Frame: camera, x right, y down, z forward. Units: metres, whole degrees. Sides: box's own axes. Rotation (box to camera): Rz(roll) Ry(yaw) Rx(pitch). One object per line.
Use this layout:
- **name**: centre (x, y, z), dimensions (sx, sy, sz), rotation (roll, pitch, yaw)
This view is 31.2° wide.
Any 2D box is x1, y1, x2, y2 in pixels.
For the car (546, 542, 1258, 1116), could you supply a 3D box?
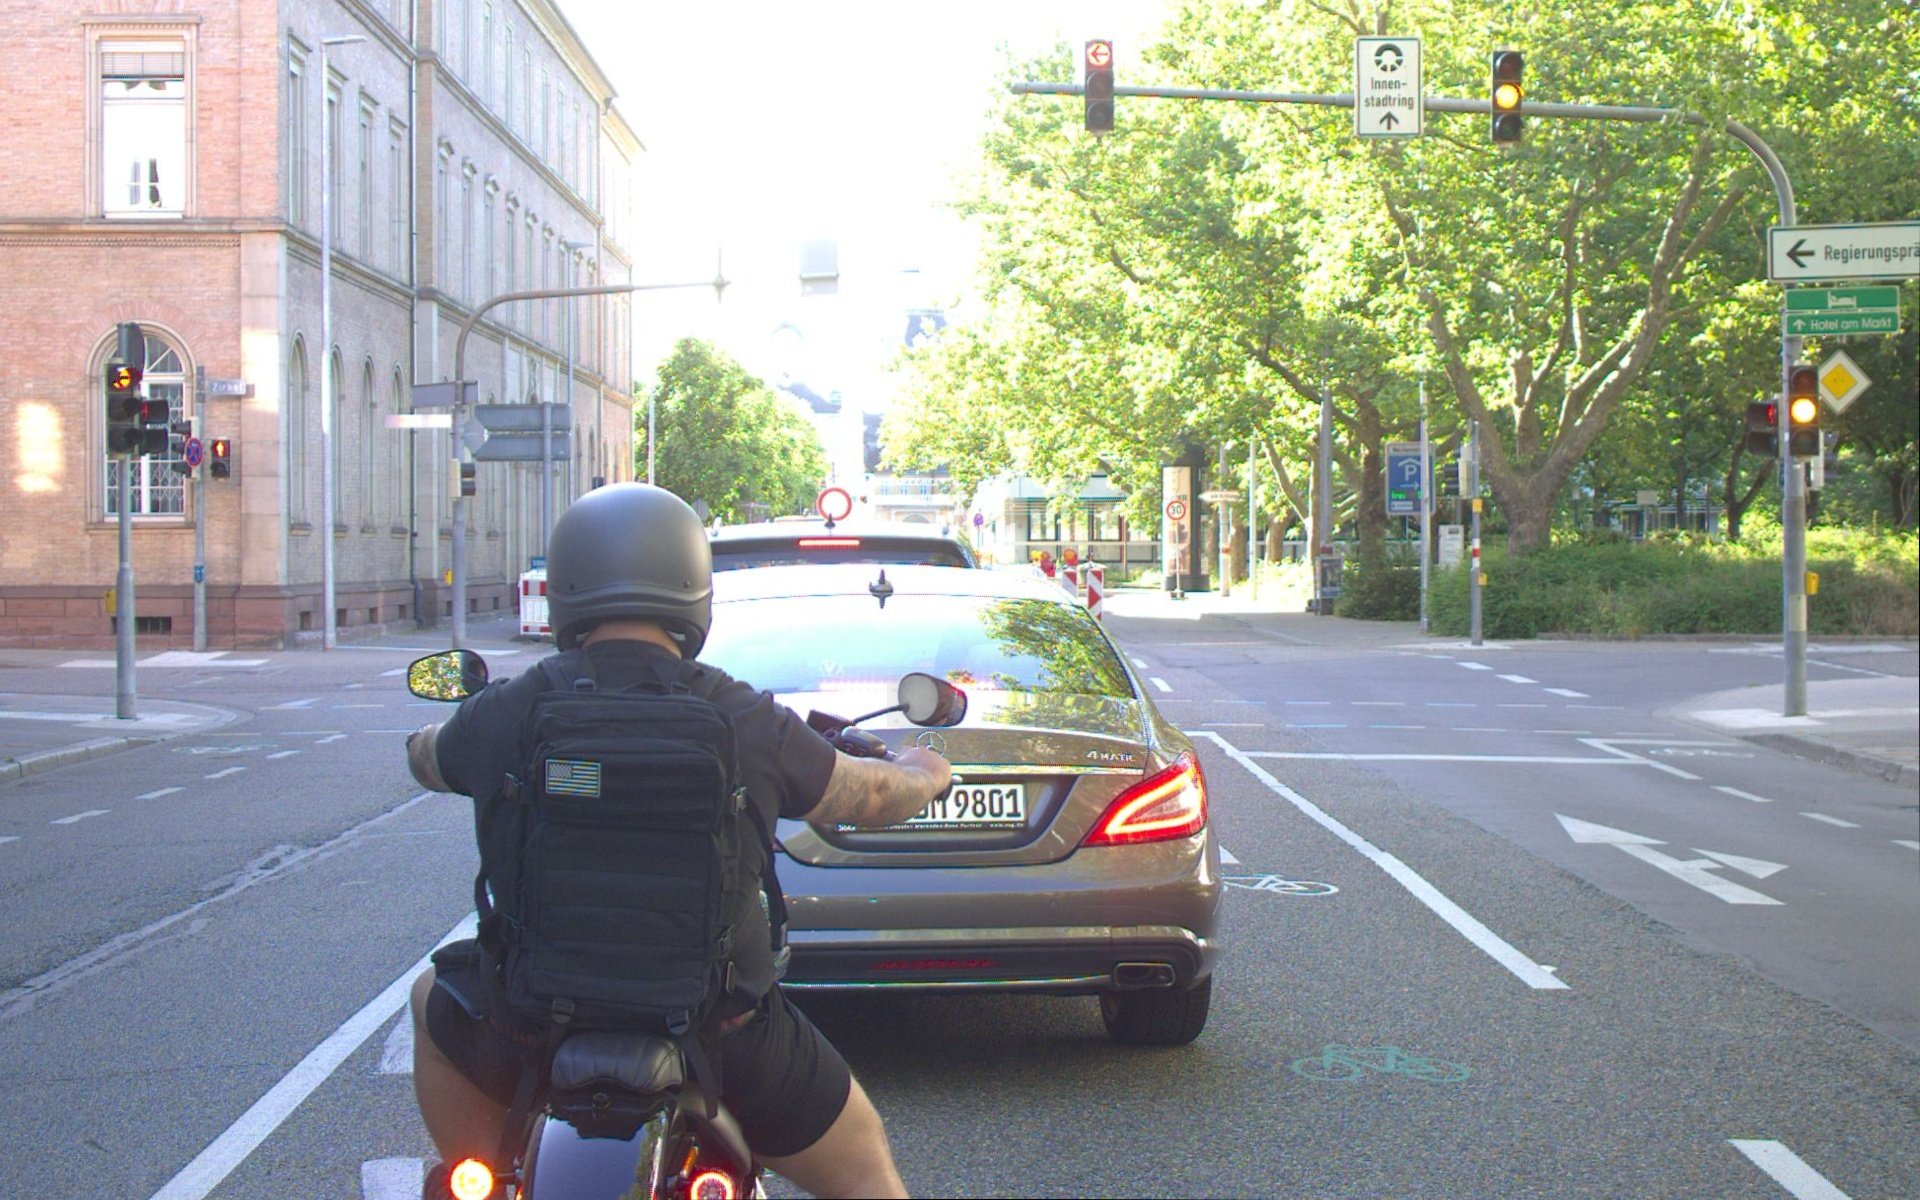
- **car**: centre (-0.400, 0.577, 11.136), dimensions (1.824, 1.481, 4.334), rotation (1, 1, -7)

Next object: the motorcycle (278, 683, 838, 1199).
- **motorcycle**: centre (-0.555, 0.788, 5.431), dimensions (0.660, 1.236, 2.058), rotation (1, 1, -1)

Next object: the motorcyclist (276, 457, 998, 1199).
- **motorcyclist**: centre (-0.459, 0.605, 5.336), dimensions (0.990, 1.605, 1.120), rotation (1, 0, -1)

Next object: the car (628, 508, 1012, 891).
- **car**: centre (-0.631, 0.413, 16.982), dimensions (1.651, 1.646, 4.000), rotation (1, 1, -1)
